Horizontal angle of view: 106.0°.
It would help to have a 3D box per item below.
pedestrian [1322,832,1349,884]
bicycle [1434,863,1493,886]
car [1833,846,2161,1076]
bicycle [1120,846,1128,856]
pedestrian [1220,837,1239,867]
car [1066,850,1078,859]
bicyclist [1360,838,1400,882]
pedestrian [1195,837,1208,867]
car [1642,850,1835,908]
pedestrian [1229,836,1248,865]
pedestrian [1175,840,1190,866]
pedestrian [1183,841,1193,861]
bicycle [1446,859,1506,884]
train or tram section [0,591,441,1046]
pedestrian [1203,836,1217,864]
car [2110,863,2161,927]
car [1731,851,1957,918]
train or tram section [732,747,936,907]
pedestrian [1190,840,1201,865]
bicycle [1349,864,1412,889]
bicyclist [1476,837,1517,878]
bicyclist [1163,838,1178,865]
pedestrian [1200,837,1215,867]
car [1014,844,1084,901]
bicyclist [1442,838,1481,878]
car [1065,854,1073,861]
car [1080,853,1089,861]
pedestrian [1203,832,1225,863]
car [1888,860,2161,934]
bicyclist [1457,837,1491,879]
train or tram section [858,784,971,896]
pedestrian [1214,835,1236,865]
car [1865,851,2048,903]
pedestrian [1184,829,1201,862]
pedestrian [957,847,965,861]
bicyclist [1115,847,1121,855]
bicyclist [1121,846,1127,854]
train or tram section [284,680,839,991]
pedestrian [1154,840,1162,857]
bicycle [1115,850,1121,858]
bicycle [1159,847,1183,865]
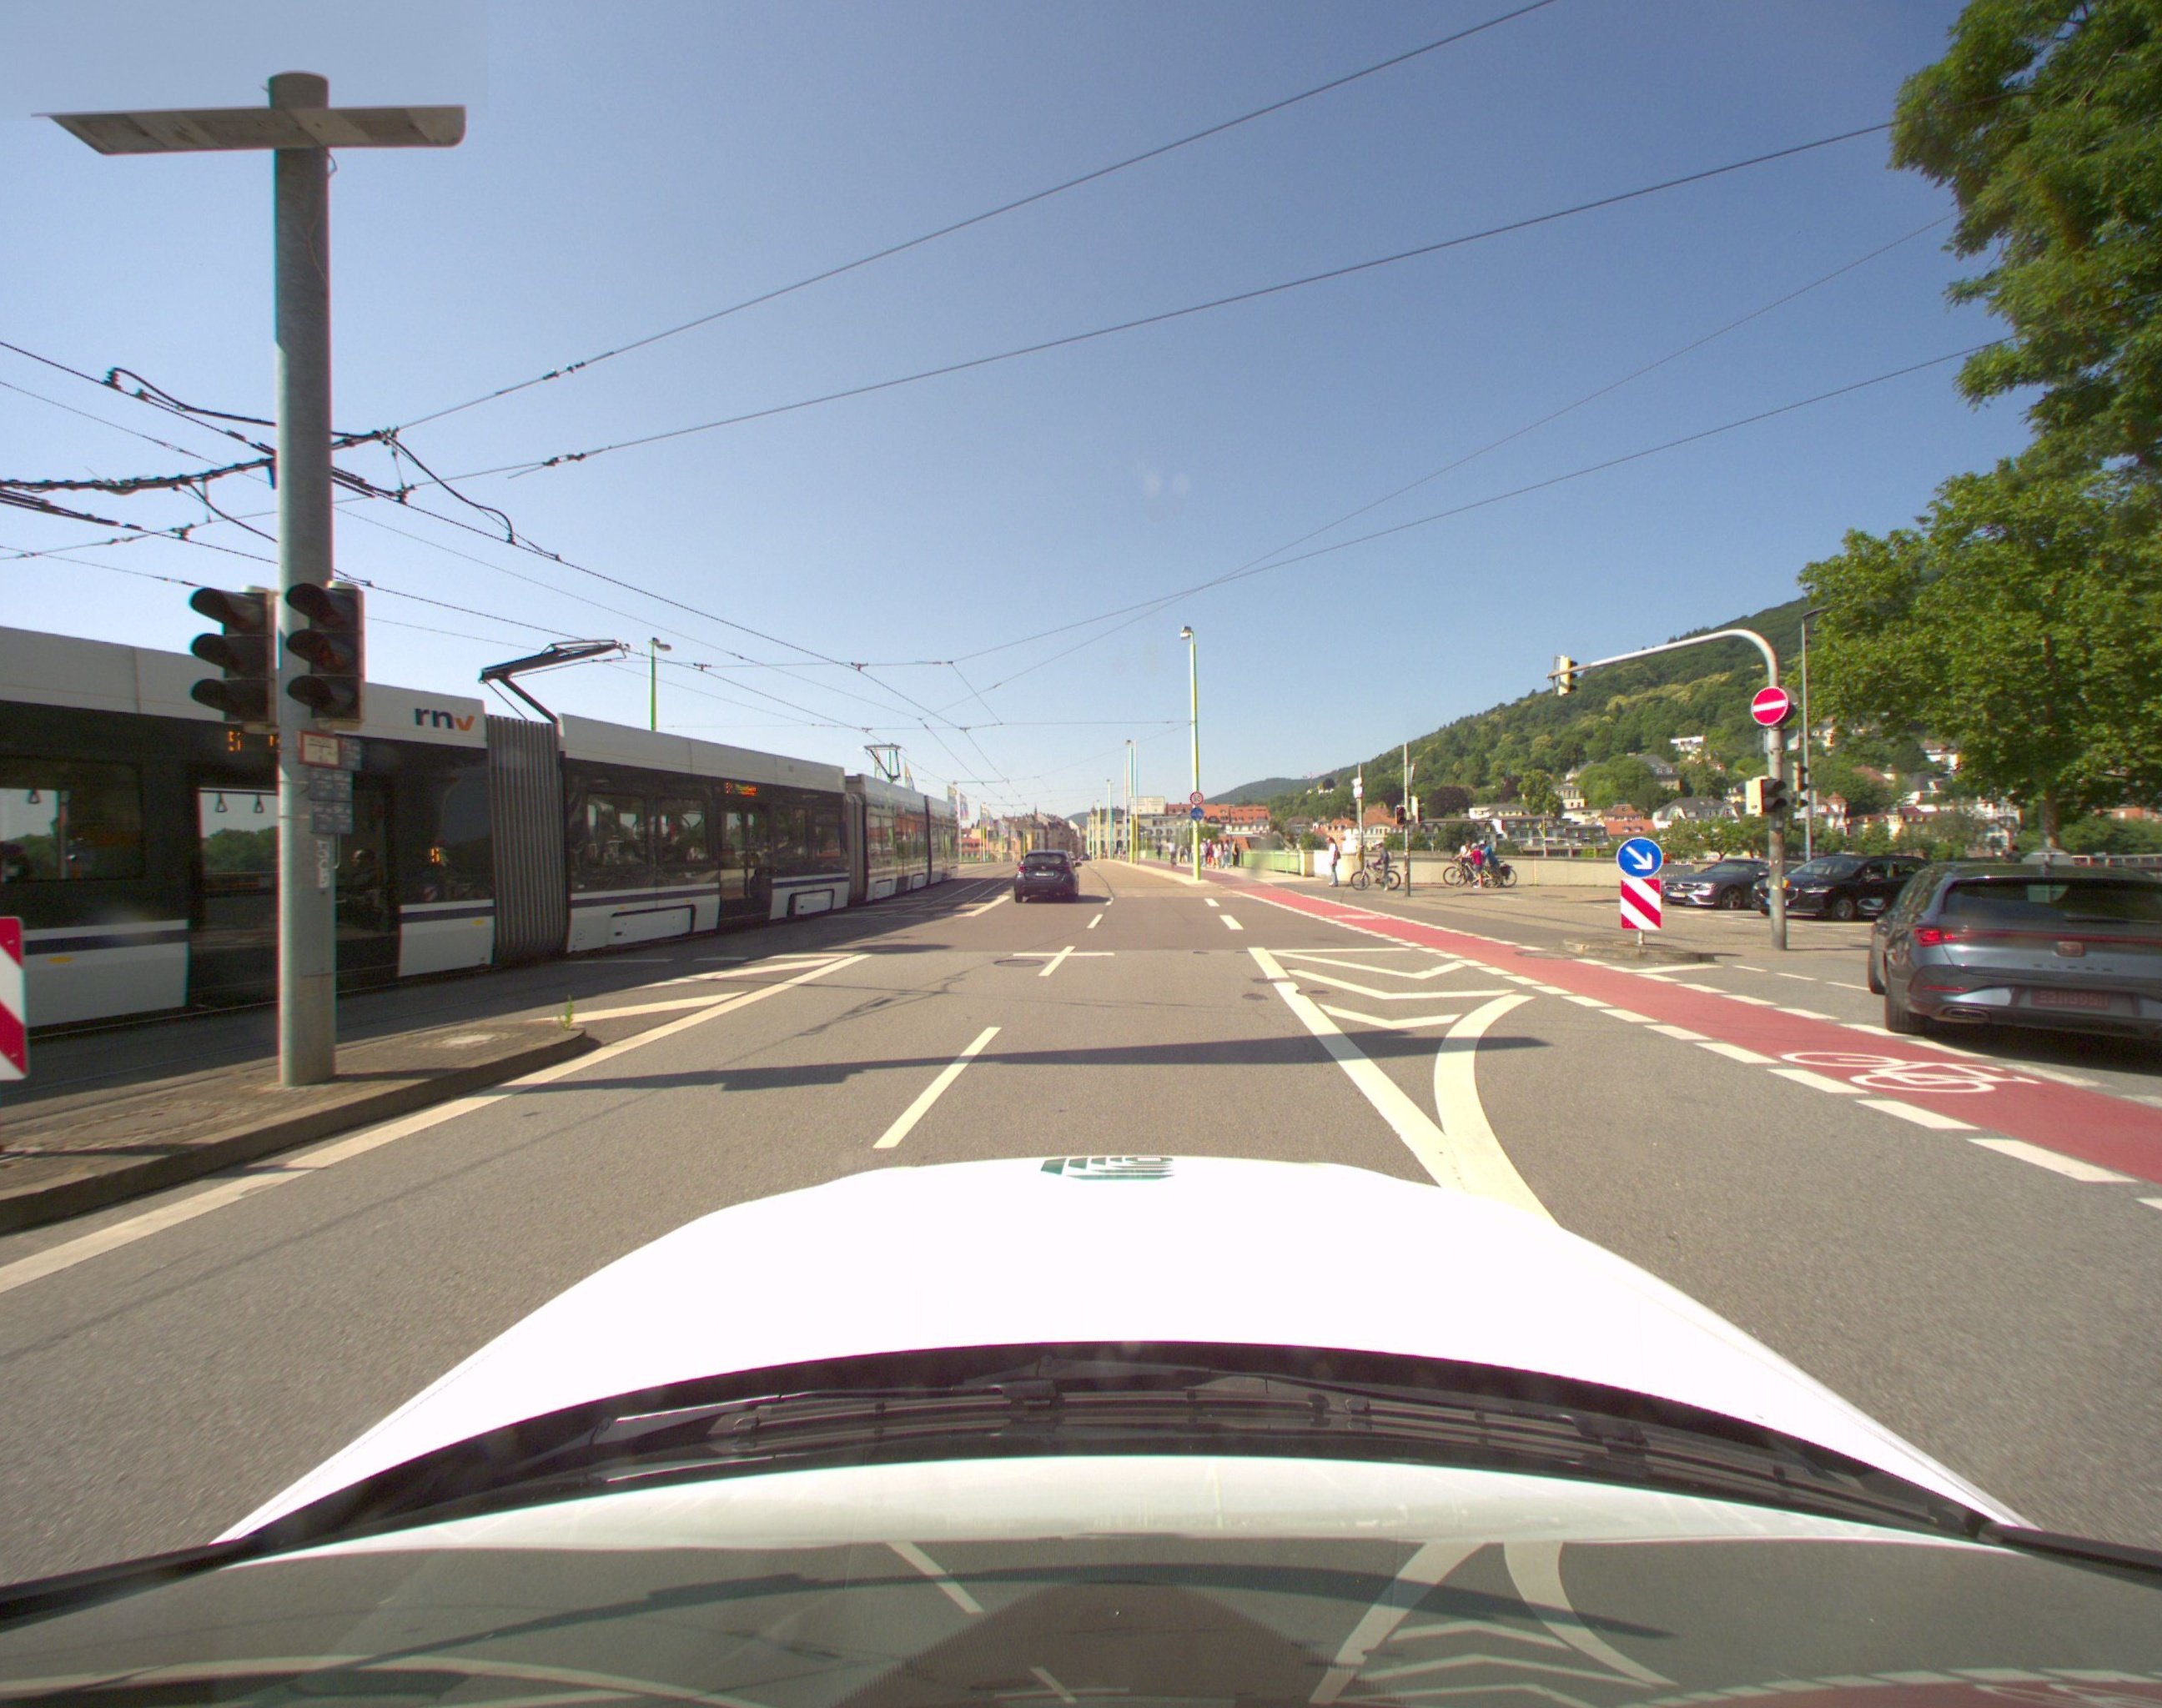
[{"bbox_3d":[9.291,0.146,29.768,0.771,1.855,0.645,-1,0,2],"label":"pedestrian"},{"bbox_3d":[14.271,0.748,30.430,1.930,0.827,0.566,0,1,3],"label":"bicycle"},{"bbox_3d":[8.198,0.688,7.256,1.974,1.490,4.312,1,1,40],"label":"car"},{"bbox_3d":[5.542,-0.362,105.148,0.694,1.193,2.075,-2,-1,-6],"label":"bicycle"},{"bbox_3d":[8.637,-0.123,47.250,0.833,1.677,0.883,-1,0,-7],"label":"pedestrian"},{"bbox_3d":[-1.642,0.112,143.446,1.800,1.469,3.994,-2,0,-4],"label":"car"},{"bbox_3d":[10.252,0.199,27.948,1.075,1.474,0.801,0,1,3],"label":"bicyclist"},{"bbox_3d":[7.095,-0.117,47.888,0.548,1.799,0.644,-1,-1,-7],"label":"pedestrian"},{"bbox_3d":[18.574,0.657,23.053,4.474,1.395,1.840,-2,1,-12],"label":"car"},{"bbox_3d":[9.114,-0.198,47.257,0.798,1.635,0.947,-1,0,-7],"label":"pedestrian"},{"bbox_3d":[7.879,-0.050,63.252,0.873,2.014,1.057,-1,0,-7],"label":"pedestrian"},{"bbox_3d":[8.659,-0.273,65.826,0.647,1.562,0.692,-2,1,3],"label":"pedestrian"},{"bbox_3d":[14.226,0.616,29.372,1.922,0.853,0.568,1,1,22],"label":"bicycle"},{"bbox_3d":[-10.649,-0.253,5.972,2.515,3.777,9.220,-1,0,23],"label":"train or tram section"},{"bbox_3d":[7.846,-0.245,49.458,0.653,1.650,0.867,-1,0,-4],"label":"pedestrian"},{"bbox_3d":[26.198,0.926,18.425,4.474,1.379,1.840,0,1,-12],"label":"car"},{"bbox_3d":[18.682,0.686,20.006,4.474,1.506,1.840,0,1,-12],"label":"car"},{"bbox_3d":[-6.619,-0.719,23.820,2.393,3.681,9.629,-1,1,4],"label":"train or tram section"},{"bbox_3d":[8.186,-0.096,58.331,0.584,1.793,0.631,-1,-1,-6],"label":"pedestrian"},{"bbox_3d":[10.267,0.757,27.965,1.930,0.827,0.566,0,1,3],"label":"bicycle"},{"bbox_3d":[15.208,0.116,29.807,1.074,1.474,0.930,0,1,7],"label":"bicyclist"},{"bbox_3d":[5.743,-0.155,52.198,0.672,1.744,1.148,-1,0,-5],"label":"bicyclist"},{"bbox_3d":[7.544,-0.123,48.495,0.695,1.716,0.730,-1,0,-7],"label":"pedestrian"},{"bbox_3d":[-0.983,0.487,24.404,1.906,1.540,3.995,-1,1,-3],"label":"car"},{"bbox_3d":[14.227,0.133,30.482,1.074,1.474,0.929,0,1,5],"label":"bicyclist"},{"bbox_3d":[-3.118,0.897,210.162,1.989,1.717,3.995,-1,0,-3],"label":"car"},{"bbox_3d":[0.694,0.635,165.532,1.797,1.469,4.001,-3,0,1],"label":"car"},{"bbox_3d":[7.694,-0.386,47.208,0.984,1.750,0.927,-1,0,-7],"label":"pedestrian"},{"bbox_3d":[19.563,0.830,16.937,4.304,1.357,1.875,0,1,-11],"label":"car"},{"bbox_3d":[14.193,0.131,29.444,1.070,1.474,0.766,1,1,23],"label":"bicyclist"},{"bbox_3d":[-6.529,-0.576,33.928,2.463,3.777,11.843,-1,1,-1],"label":"train or tram section"},{"bbox_3d":[8.733,-0.266,49.414,0.984,1.769,1.251,-2,0,-7],"label":"pedestrian"},{"bbox_3d":[26.375,0.652,24.565,4.478,1.448,1.839,0,1,-14],"label":"car"},{"bbox_3d":[6.883,-0.515,50.256,0.802,2.014,0.952,-1,0,-7],"label":"pedestrian"},{"bbox_3d":[-18.261,0.021,124.037,1.095,2.013,1.293,-1,0,-4],"label":"pedestrian"},{"bbox_3d":[5.060,-0.415,111.613,0.733,1.030,1.174,-1,0,-3],"label":"bicyclist"},{"bbox_3d":[5.529,-0.547,105.122,0.666,1.045,0.978,-1,0,-7],"label":"bicyclist"},{"bbox_3d":[-7.874,-0.291,14.622,2.520,3.777,9.201,-1,1,12],"label":"train or tram section"},{"bbox_3d":[8.099,-0.598,85.476,0.654,1.743,0.976,-1,1,-8],"label":"pedestrian"},{"bbox_3d":[5.032,0.047,111.627,0.617,1.037,2.049,-1,0,-3],"label":"bicycle"},{"bbox_3d":[5.751,0.144,52.282,0.791,1.096,3.737,-2,0,-5],"label":"bicycle"}]
